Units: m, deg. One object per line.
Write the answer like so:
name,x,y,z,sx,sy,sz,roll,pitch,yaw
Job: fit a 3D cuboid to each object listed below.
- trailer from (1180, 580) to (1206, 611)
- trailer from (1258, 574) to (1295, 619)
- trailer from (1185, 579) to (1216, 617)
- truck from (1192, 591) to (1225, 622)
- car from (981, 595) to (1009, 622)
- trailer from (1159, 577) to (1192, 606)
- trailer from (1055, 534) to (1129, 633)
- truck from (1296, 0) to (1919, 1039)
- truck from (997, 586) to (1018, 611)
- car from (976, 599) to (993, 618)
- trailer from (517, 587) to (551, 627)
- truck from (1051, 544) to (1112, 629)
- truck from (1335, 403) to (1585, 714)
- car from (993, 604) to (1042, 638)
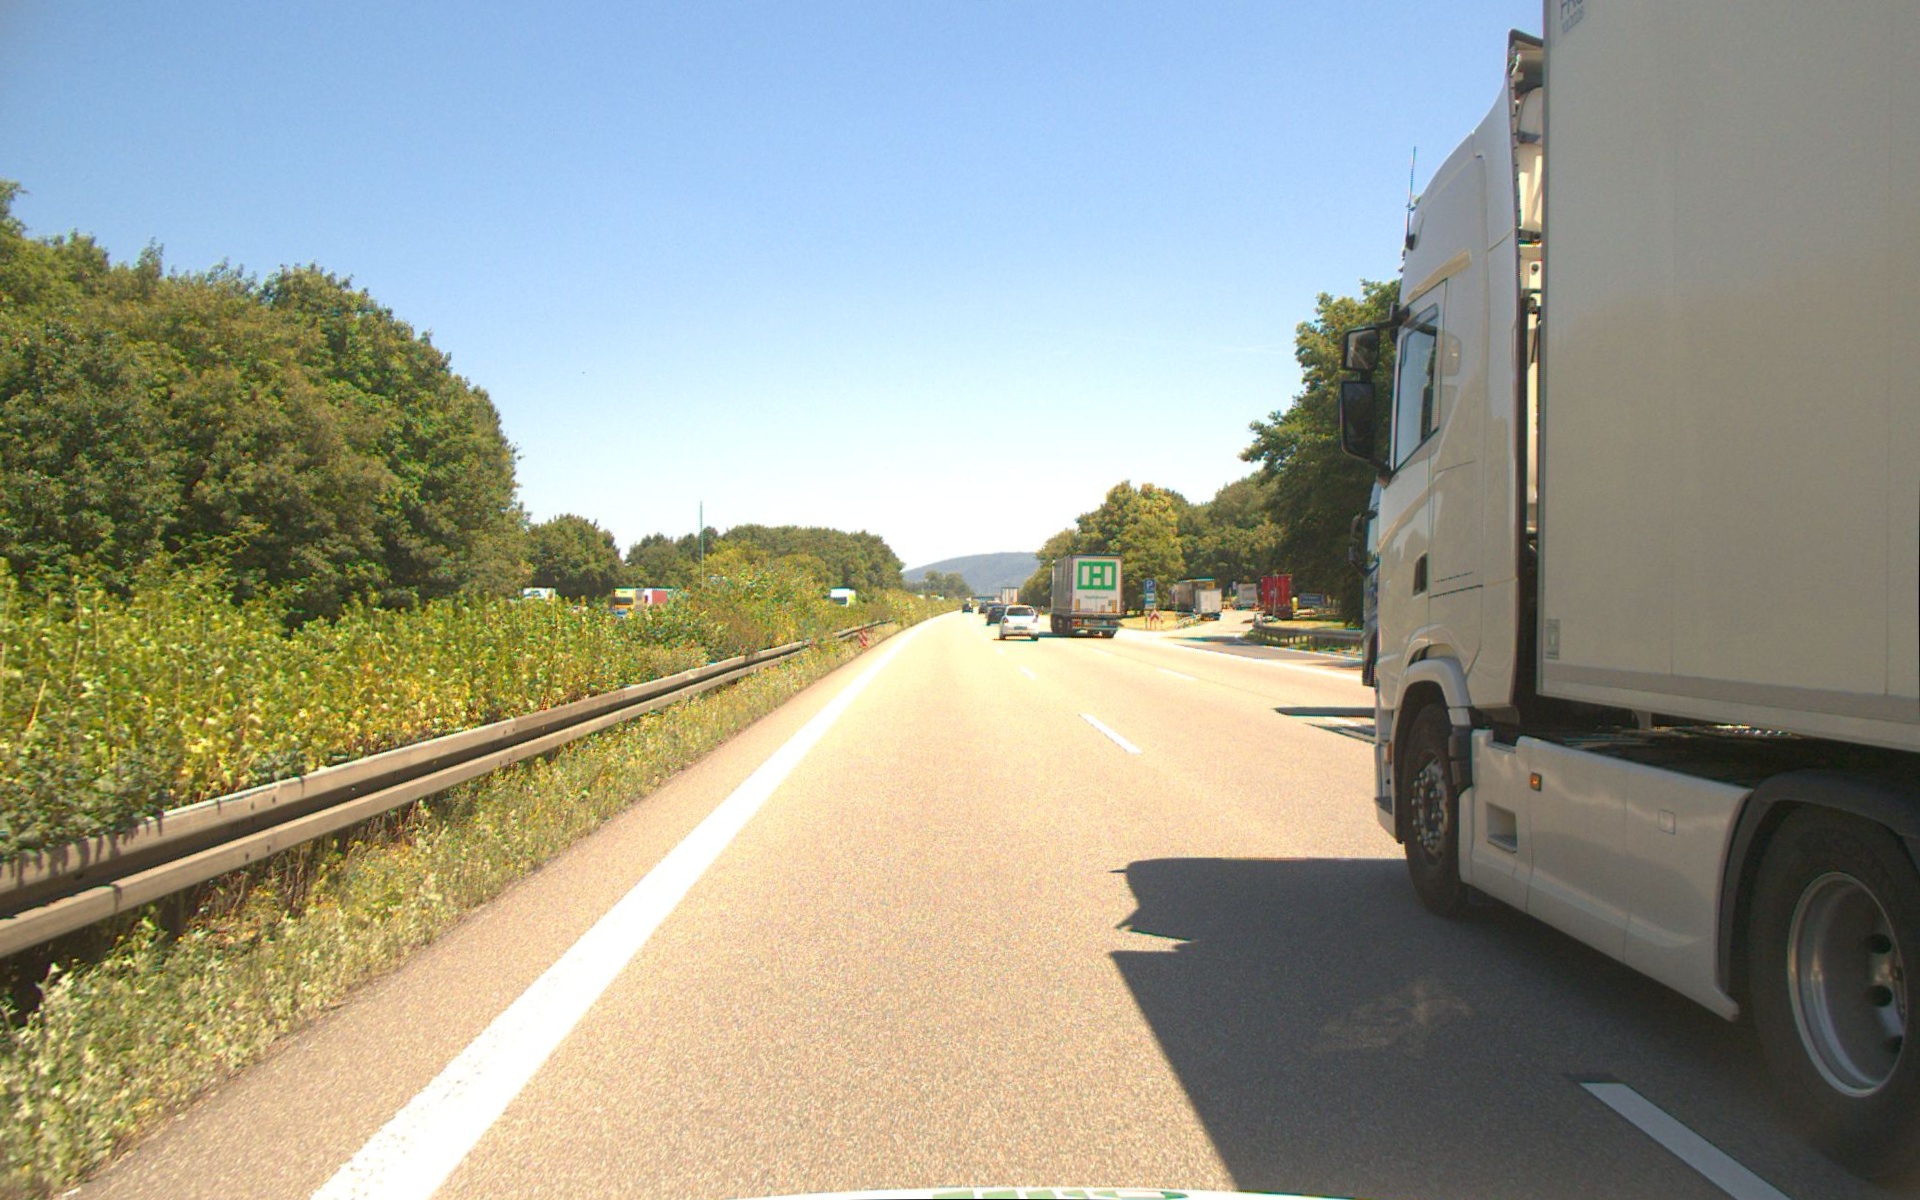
trailer,30.492,-0.560,216.789,3.036,3.856,13.373,1,0,7
trailer,28.673,-0.295,149.676,2.915,3.946,12.899,-1,0,12
trailer,26.216,-0.229,179.658,3.116,4.004,11.560,0,0,9
truck,24.282,0.611,161.783,2.416,2.997,7.662,0,0,3
car,2.561,0.616,120.673,1.857,1.926,4.002,-1,0,4
trailer,30.894,-1.177,237.292,3.070,4.021,14.198,-1,0,1
trailer,6.662,-0.778,85.313,3.116,4.708,12.052,0,0,1
truck,3.711,-0.648,7.932,3.163,4.230,4.558,0,0,-1
truck,7.400,-0.237,258.619,3.256,3.822,12.797,1,0,1
car,2.805,0.965,188.787,1.844,2.049,3.999,-1,0,-1
trailer,-45.321,0.736,176.199,2.562,4.041,12.573,-1,0,-10
truck,6.853,-0.748,94.043,3.116,4.688,5.948,0,0,1
truck,7.118,-0.545,24.043,2.399,4.108,4.071,0,0,0
car,2.543,0.924,73.620,1.776,1.429,3.313,0,0,-6
